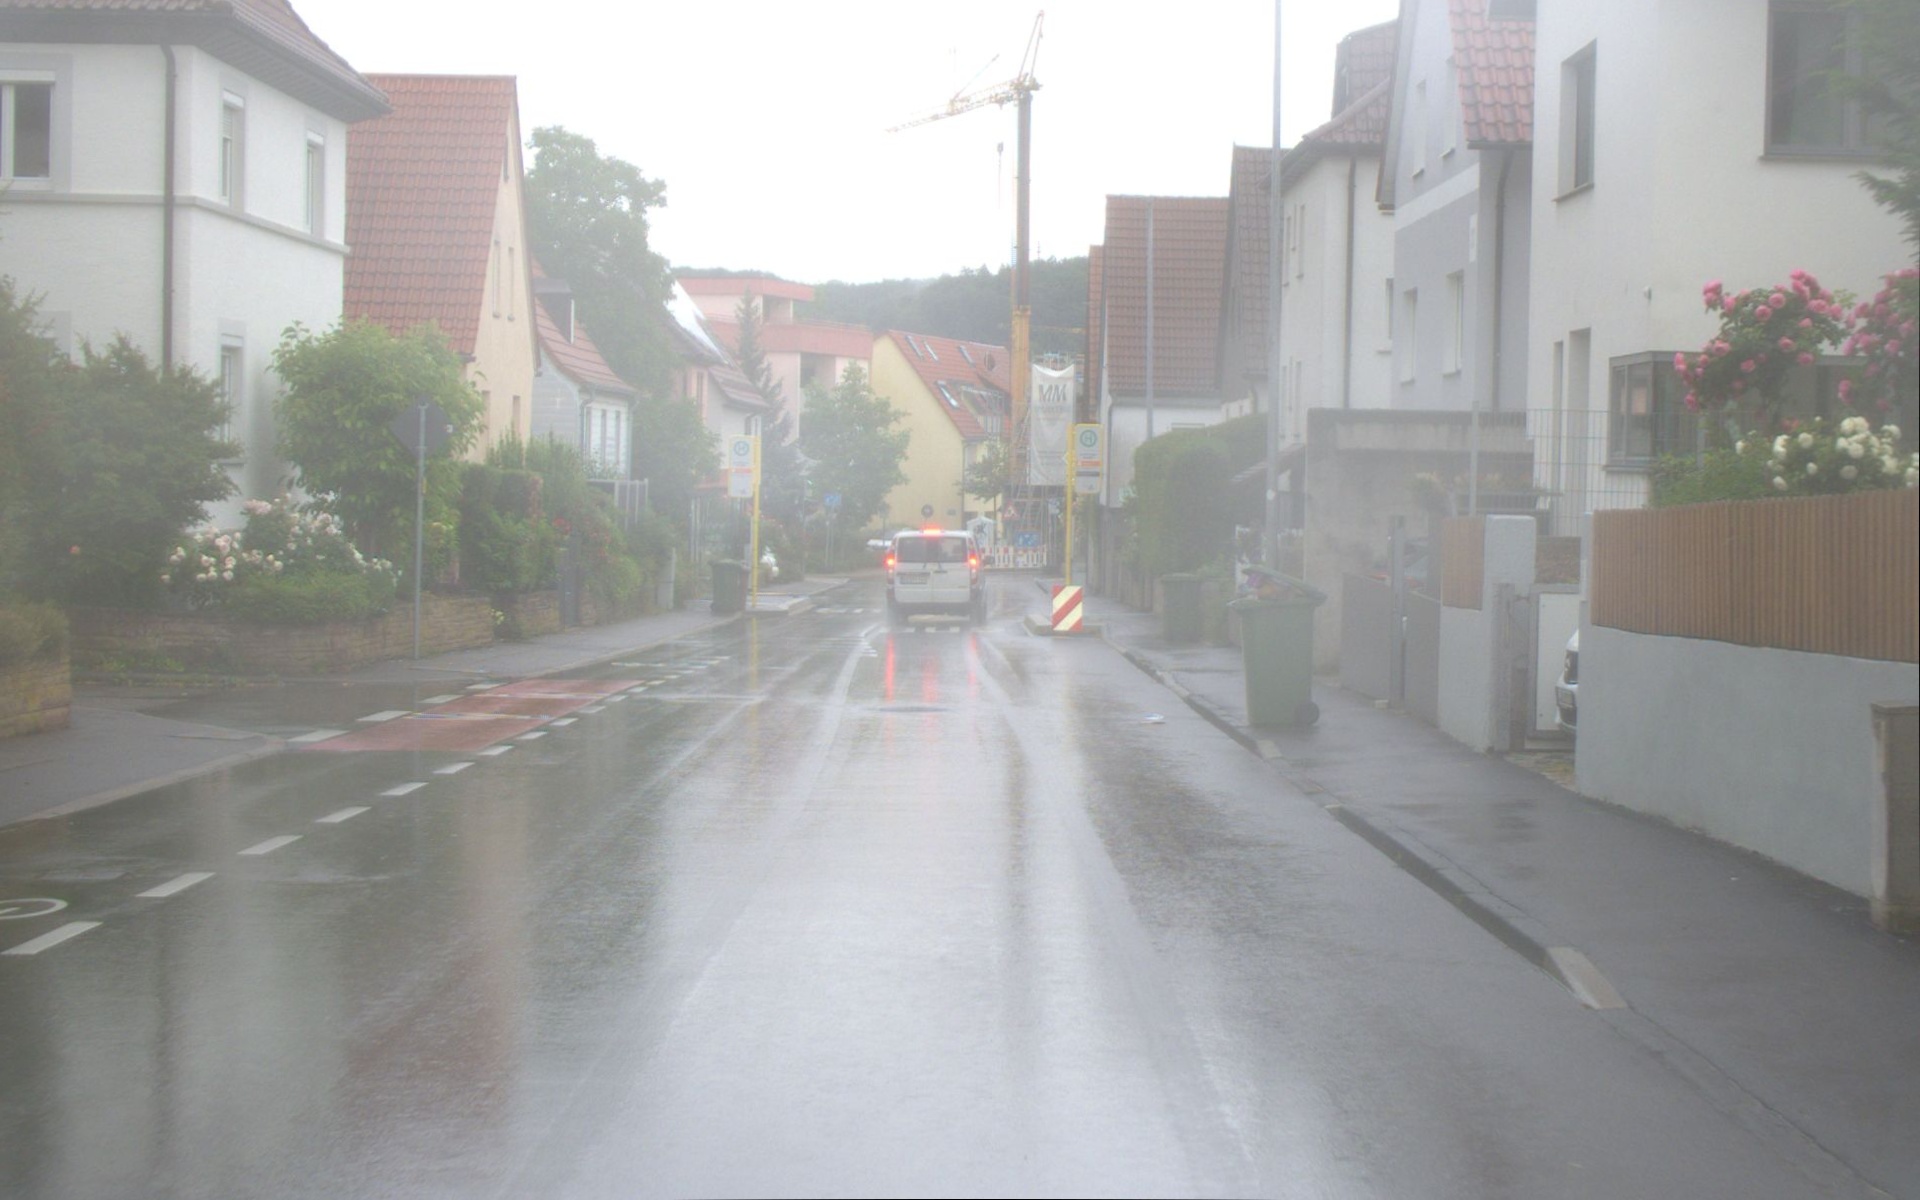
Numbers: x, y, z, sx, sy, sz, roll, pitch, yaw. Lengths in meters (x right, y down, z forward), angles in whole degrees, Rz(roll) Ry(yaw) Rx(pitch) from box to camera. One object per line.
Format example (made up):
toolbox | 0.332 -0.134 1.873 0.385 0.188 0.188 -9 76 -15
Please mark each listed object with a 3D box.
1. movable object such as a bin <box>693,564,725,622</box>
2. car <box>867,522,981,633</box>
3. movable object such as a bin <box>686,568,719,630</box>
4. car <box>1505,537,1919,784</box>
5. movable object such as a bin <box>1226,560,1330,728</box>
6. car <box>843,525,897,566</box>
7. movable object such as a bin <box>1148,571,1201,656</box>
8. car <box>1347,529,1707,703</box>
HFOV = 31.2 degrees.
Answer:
movable object such as a bin | -5.627 -0.158 77.043 0.682 1.219 0.639 2 4 -5
car | -0.687 -0.489 68.786 2.117 1.881 4.503 2 4 1
movable object such as a bin | -5.710 -0.024 76.238 0.682 1.318 0.639 2 3 -5
car | 5.433 0.362 22.328 3.494 1.517 1.739 0 2 0
movable object such as a bin | 2.540 0.340 27.543 0.745 1.274 0.882 1 3 1
car | -3.929 -2.409 151.195 1.842 1.573 4.289 3 4 5
movable object such as a bin | 3.416 0.217 54.702 0.785 1.272 0.714 3 4 4
car | 5.796 0.150 35.397 3.373 1.557 1.515 2 4 0
